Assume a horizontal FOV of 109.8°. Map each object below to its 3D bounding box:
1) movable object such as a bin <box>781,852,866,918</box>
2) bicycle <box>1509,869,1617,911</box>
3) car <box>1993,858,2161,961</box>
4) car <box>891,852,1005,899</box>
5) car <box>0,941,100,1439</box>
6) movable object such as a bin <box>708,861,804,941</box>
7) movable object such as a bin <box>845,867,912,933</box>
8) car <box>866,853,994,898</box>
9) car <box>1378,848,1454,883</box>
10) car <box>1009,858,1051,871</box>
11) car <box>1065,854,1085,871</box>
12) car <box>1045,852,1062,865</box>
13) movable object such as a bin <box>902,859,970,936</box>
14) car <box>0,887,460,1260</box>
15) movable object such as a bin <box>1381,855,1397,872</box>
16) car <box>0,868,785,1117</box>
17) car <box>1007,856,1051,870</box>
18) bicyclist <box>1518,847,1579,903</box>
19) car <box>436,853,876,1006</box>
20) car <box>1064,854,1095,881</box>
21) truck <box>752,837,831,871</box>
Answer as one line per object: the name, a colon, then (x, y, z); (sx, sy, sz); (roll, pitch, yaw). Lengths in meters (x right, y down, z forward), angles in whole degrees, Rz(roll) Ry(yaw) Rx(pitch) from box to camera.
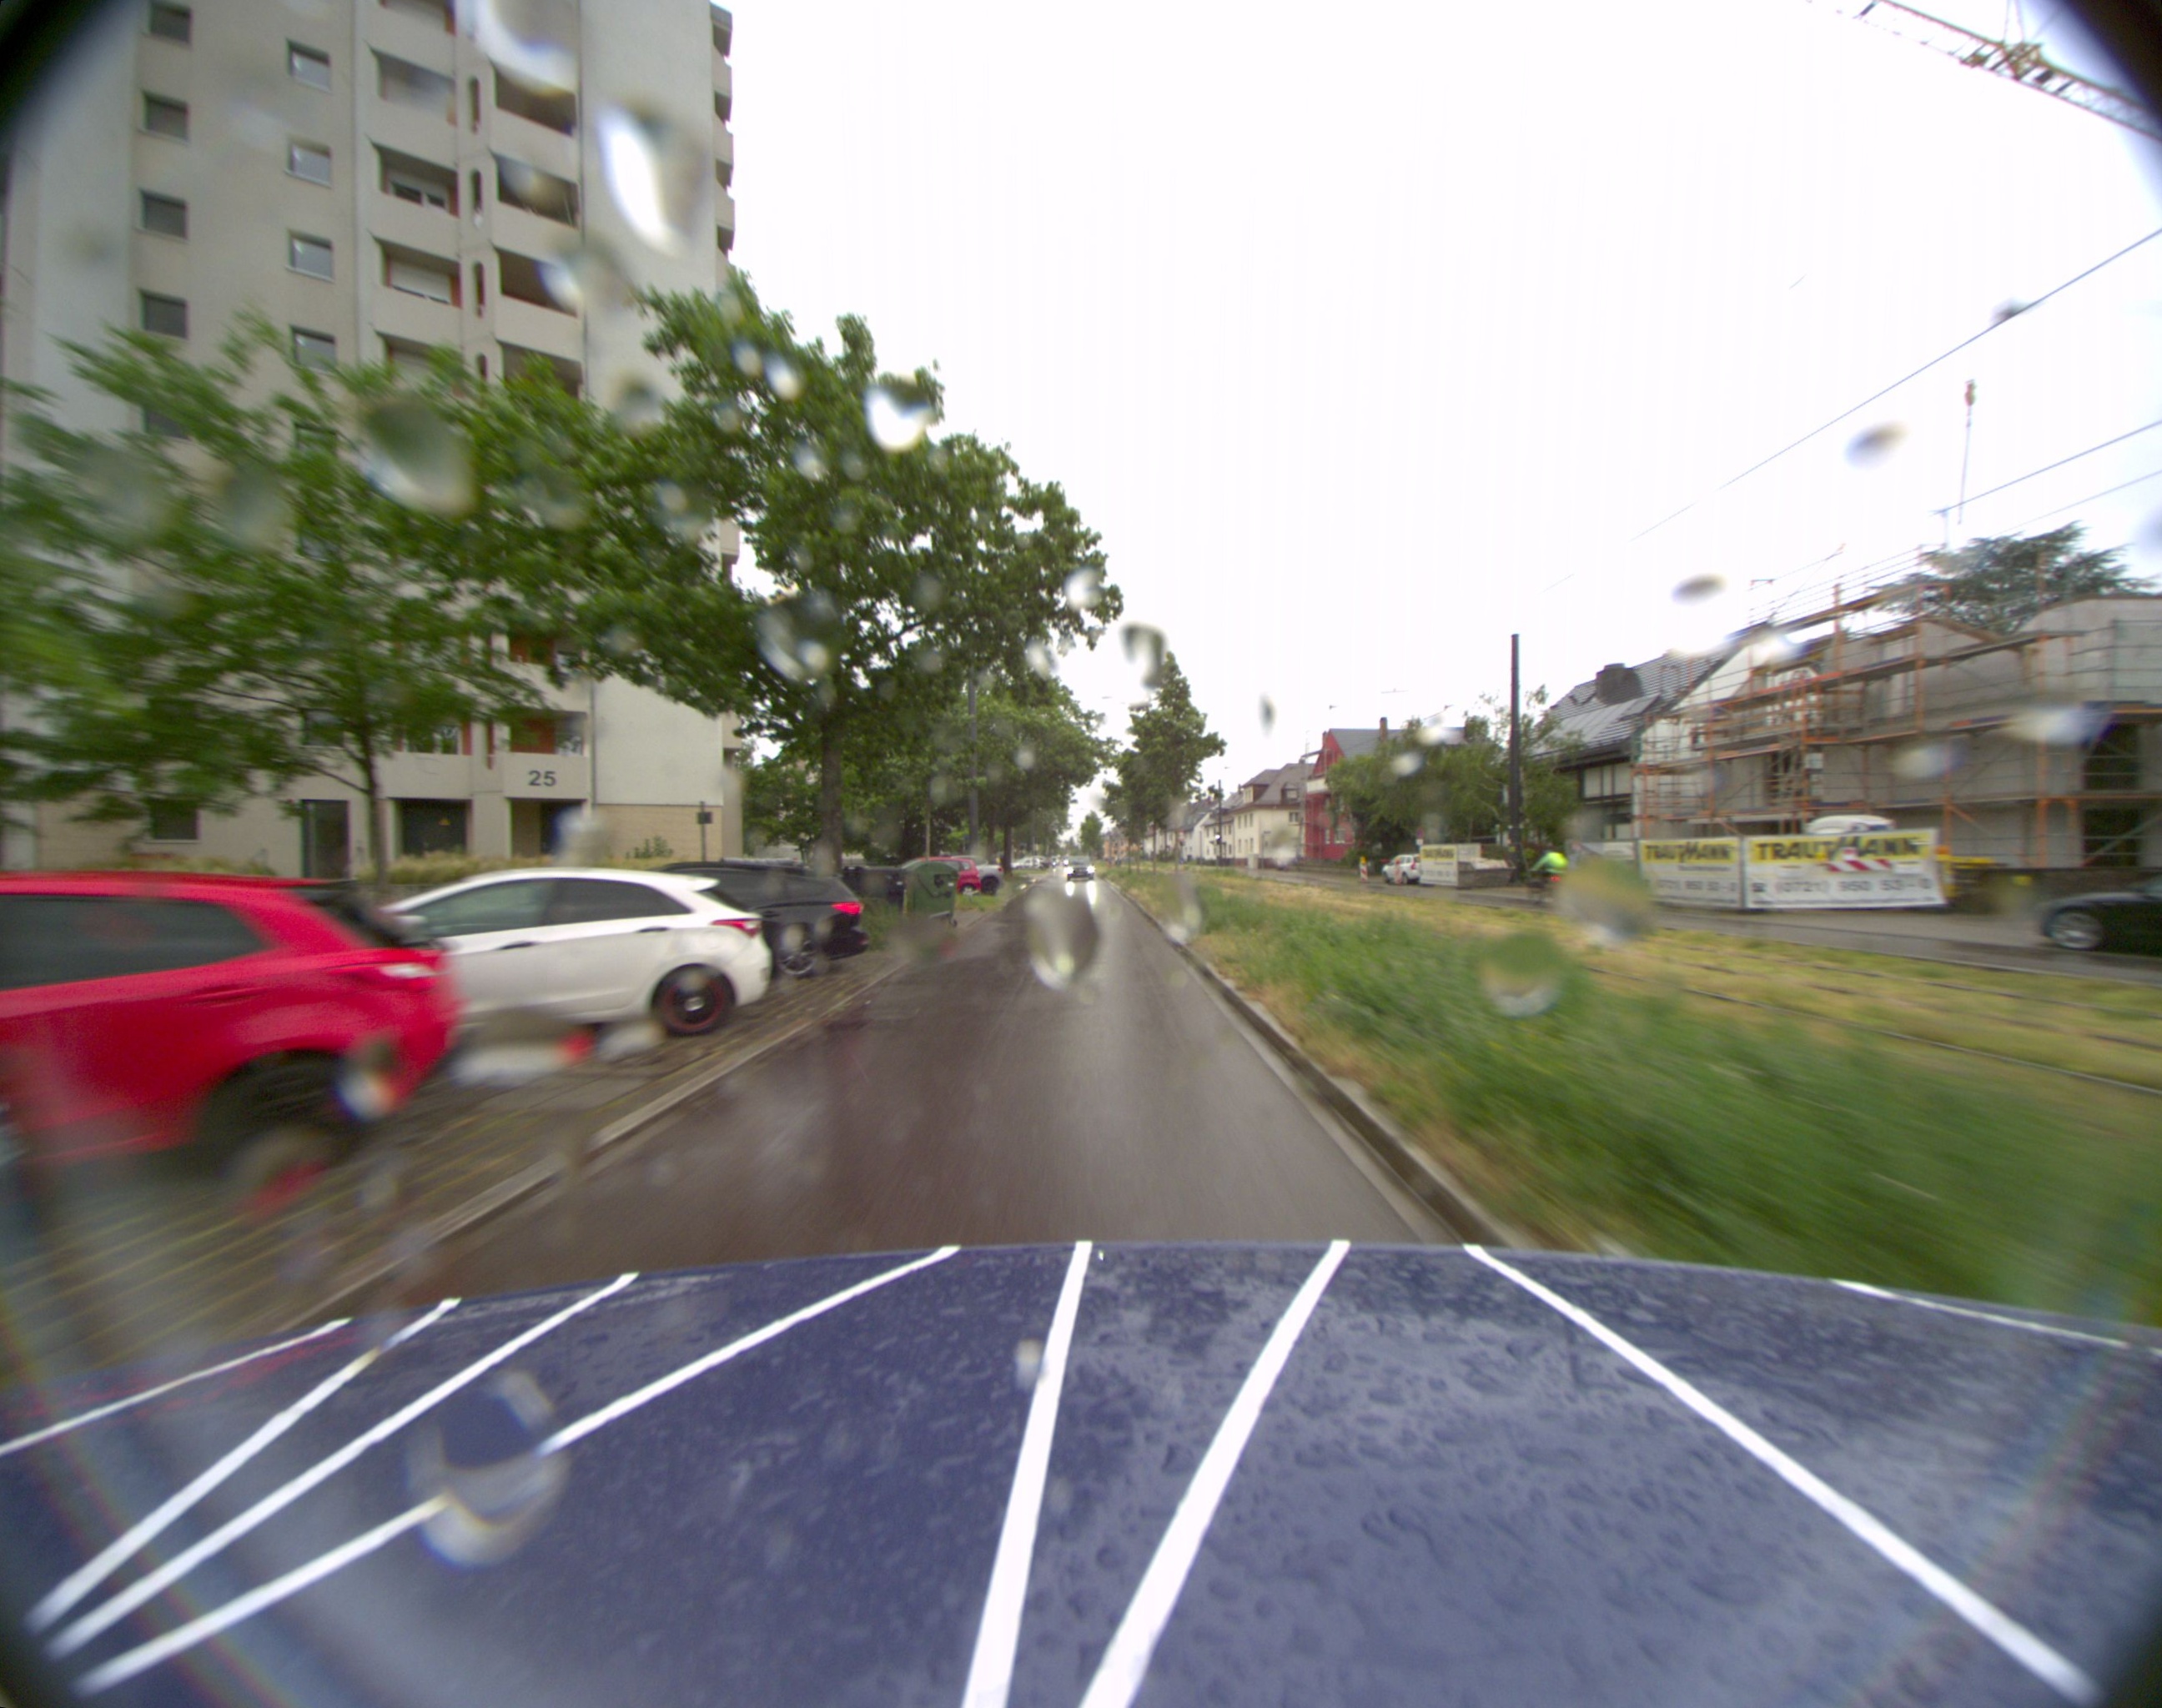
movable object such as a bin: (-5.283, 0.604, 15.591); (1.244, 1.244, 1.183); (-3, 2, -43)
bicycle: (13.847, 1.001, 22.017); (0.937, 1.037, 3.433); (0, 0, -1)
car: (16.089, 0.765, 10.470); (1.998, 1.401, 4.175); (-2, -1, 0)
car: (-5.193, 0.795, 29.891); (4.054, 1.676, 1.720); (-1, 1, -35)
car: (-4.816, 0.930, 0.688); (4.469, 1.419, 1.680); (2, -1, -32)
movable object such as a bin: (-6.300, 0.870, 14.746); (1.370, 1.414, 1.183); (-3, 2, -41)
movable object such as a bin: (-4.365, 0.958, 16.361); (0.999, 1.305, 1.184); (-3, 2, -36)
car: (-5.324, 0.781, 26.922); (4.055, 1.479, 1.720); (2, -1, -35)
car: (17.385, 0.567, 39.687); (1.999, 1.618, 4.249); (-2, 1, -1)
car: (-5.963, 1.160, 88.597); (4.485, 1.320, 1.995); (-2, 1, -27)
car: (-0.692, 0.984, 87.627); (1.998, 1.762, 4.000); (-2, 1, 2)
car: (-3.678, 0.580, 102.736); (1.998, 1.696, 4.000); (-2, 1, 2)
movable object such as a bin: (-3.200, 0.915, 16.675); (1.165, 1.553, 1.372); (-2, 2, -22)
car: (-5.598, 0.886, 3.225); (4.470, 1.419, 1.805); (2, -1, -37)
movable object such as a bin: (21.718, 0.667, 53.607); (0.812, 1.141, 0.821); (-2, 1, 1)
car: (-5.108, 0.921, 6.523); (4.470, 1.456, 1.815); (2, -1, -33)
car: (-5.852, 1.000, 85.406); (4.485, 1.320, 1.995); (-2, 1, -29)
bicyclist: (13.826, 0.587, 22.504); (0.956, 1.575, 1.400); (-2, 1, 0)
car: (-5.093, 0.850, 9.655); (4.469, 1.533, 1.680); (2, 1, -30)
car: (-0.058, 0.886, 51.989); (1.998, 1.611, 3.999); (-2, 1, 1)
truck: (-22.920, -0.027, 60.395); (5.680, 2.424, 2.121); (-2, 1, -17)
